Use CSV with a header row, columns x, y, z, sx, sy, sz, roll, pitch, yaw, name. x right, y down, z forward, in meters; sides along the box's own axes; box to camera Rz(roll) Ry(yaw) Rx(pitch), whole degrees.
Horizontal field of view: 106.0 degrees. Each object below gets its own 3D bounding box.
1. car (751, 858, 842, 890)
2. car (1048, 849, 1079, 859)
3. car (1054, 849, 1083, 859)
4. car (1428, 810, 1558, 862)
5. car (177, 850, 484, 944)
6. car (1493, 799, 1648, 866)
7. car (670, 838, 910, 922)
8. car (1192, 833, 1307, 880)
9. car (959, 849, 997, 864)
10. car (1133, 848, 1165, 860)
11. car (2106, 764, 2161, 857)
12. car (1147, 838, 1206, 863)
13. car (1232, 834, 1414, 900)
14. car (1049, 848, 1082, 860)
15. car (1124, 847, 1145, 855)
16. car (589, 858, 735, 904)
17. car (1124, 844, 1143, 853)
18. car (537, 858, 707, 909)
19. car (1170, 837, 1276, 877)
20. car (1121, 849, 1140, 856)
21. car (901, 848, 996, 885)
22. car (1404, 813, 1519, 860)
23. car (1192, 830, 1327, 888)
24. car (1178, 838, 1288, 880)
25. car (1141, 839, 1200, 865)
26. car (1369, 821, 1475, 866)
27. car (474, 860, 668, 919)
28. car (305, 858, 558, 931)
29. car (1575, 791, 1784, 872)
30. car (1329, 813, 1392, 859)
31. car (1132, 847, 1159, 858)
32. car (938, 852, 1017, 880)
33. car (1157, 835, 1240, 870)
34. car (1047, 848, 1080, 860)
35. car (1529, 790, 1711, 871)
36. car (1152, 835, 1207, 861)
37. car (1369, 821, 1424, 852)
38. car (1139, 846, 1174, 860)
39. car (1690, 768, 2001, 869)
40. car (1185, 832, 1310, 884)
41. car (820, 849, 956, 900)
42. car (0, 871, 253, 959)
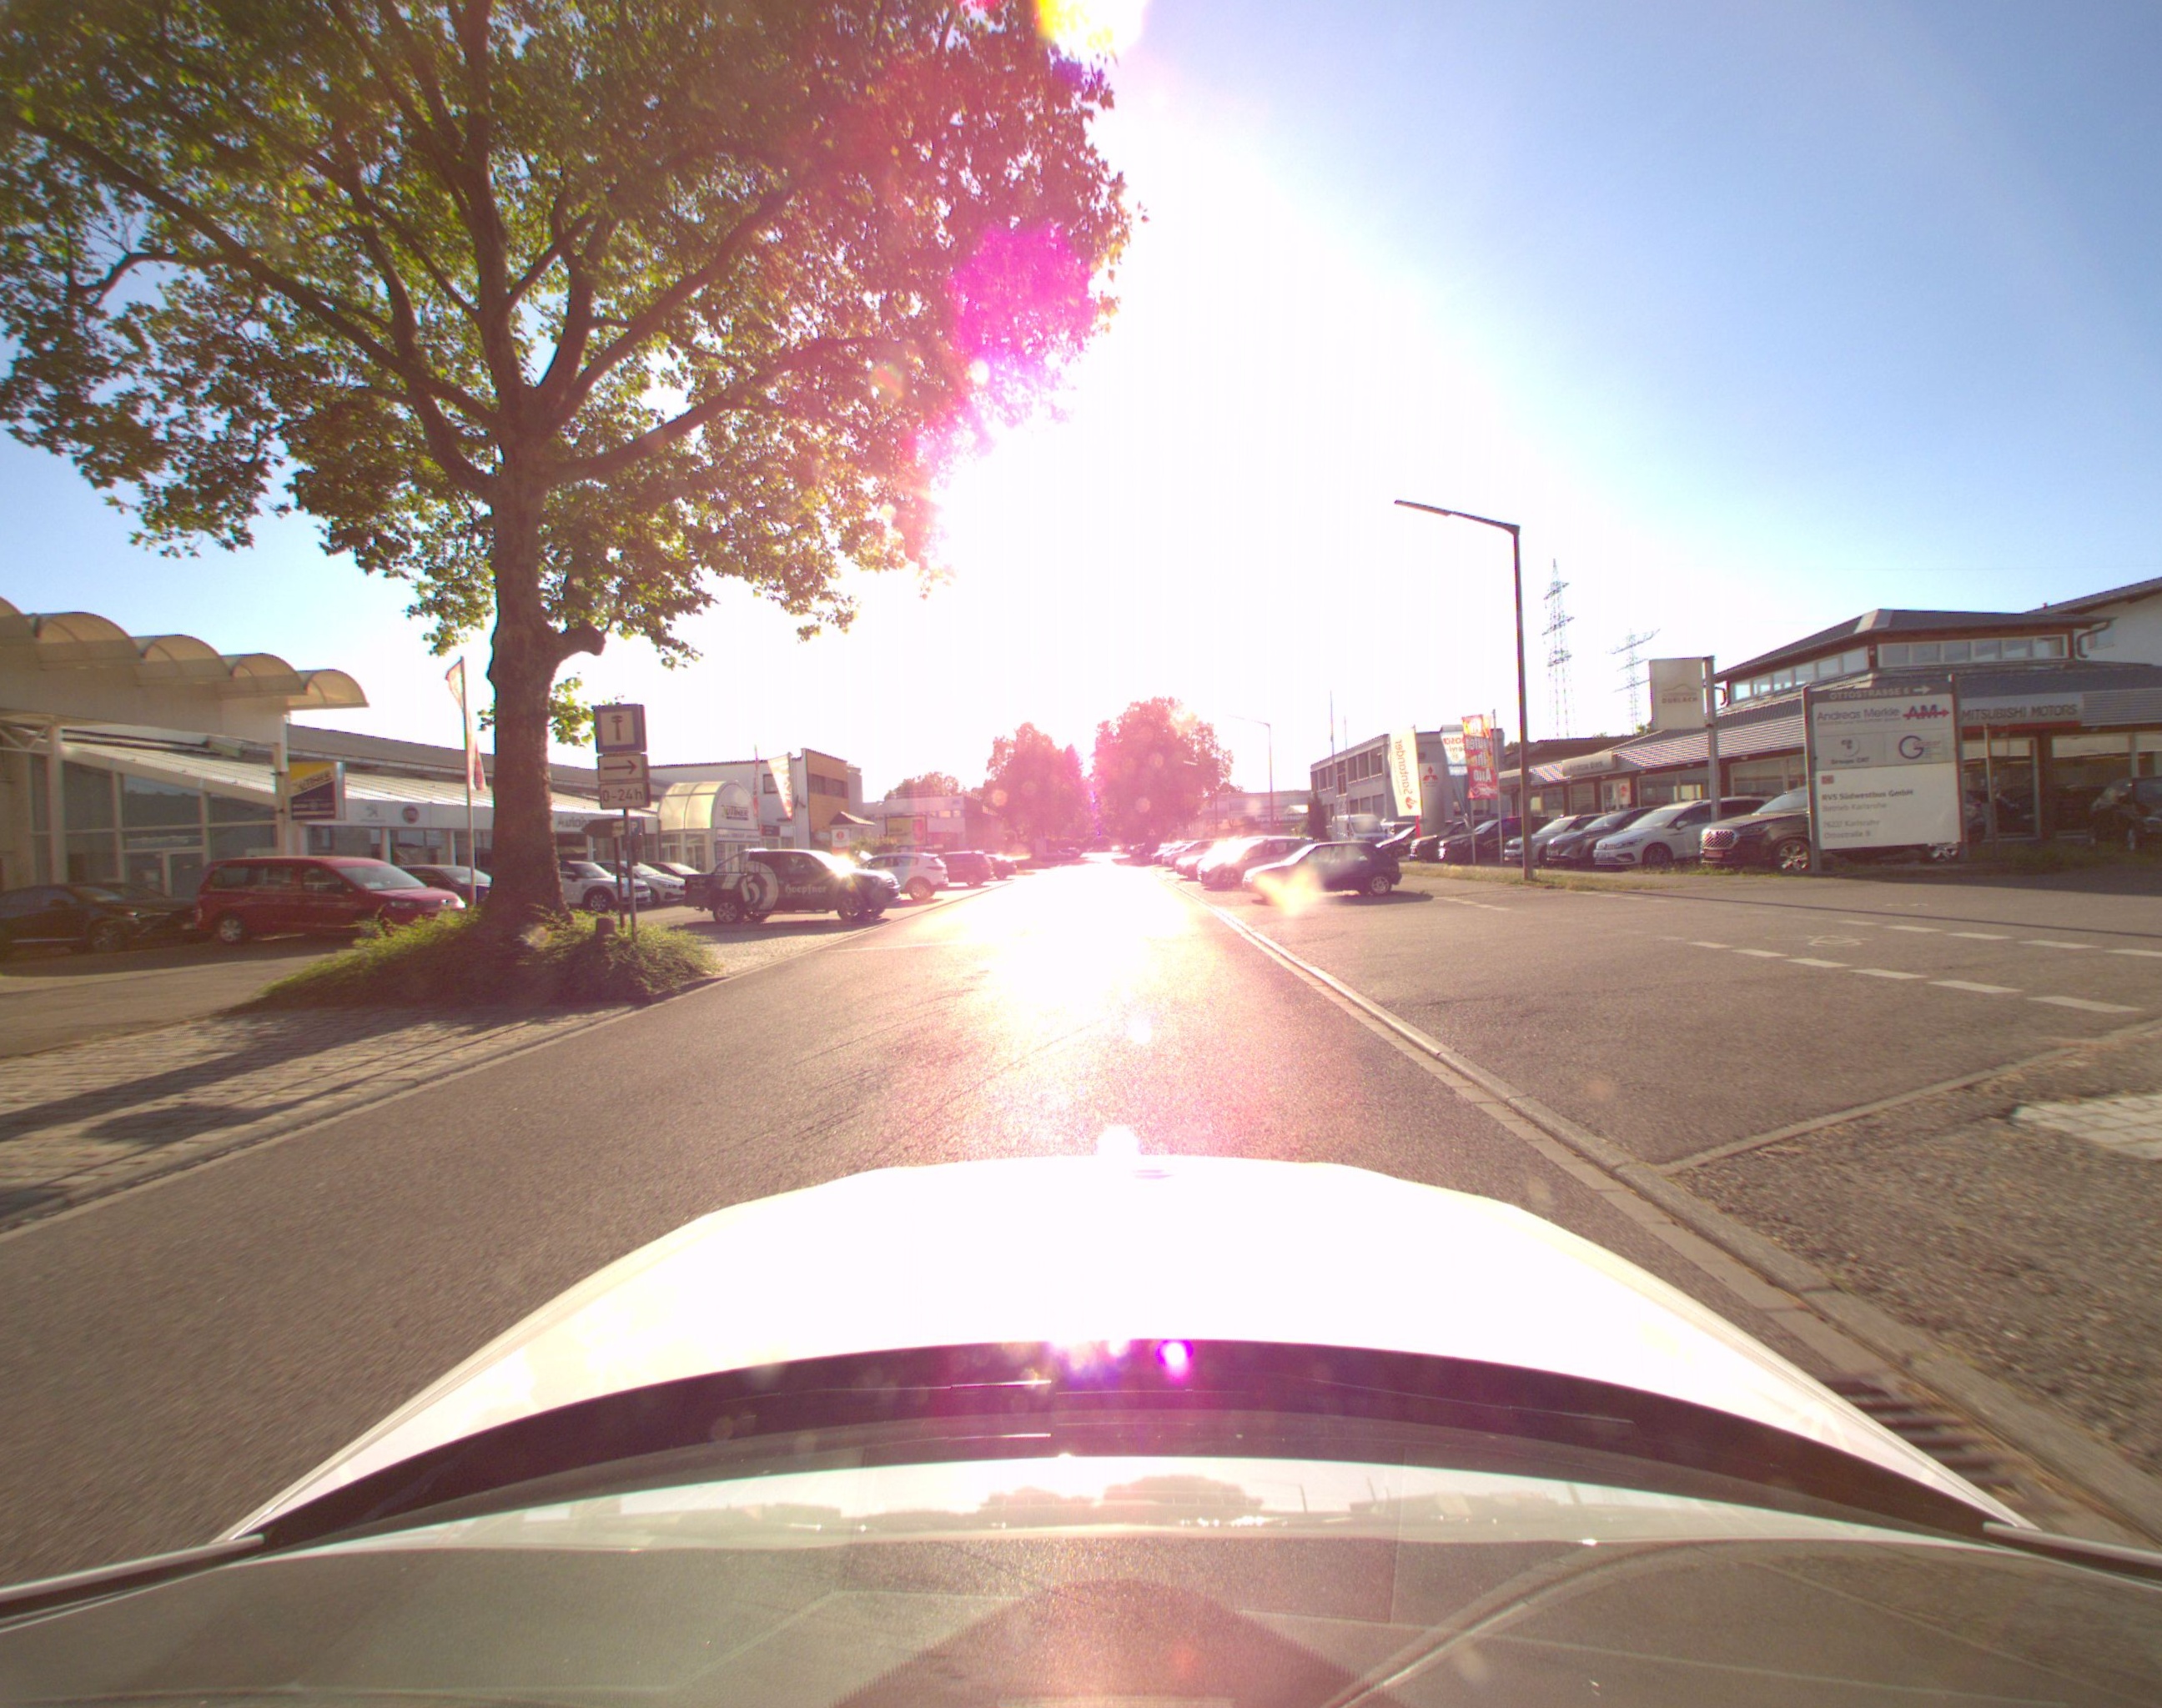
x,y,z,sx,sy,sz,roll,pitch,yaw,name
-14.787,1.019,42.433,3.971,1.555,2.001,-1,0,2,car
-2.650,0.011,122.329,4.396,1.517,2.002,-1,0,3,car
-2.021,0.045,132.775,4.396,1.517,2.002,-1,0,3,car
15.993,-0.672,31.777,3.971,1.697,2.001,-4,-1,2,car
-16.022,0.877,17.585,4.730,1.819,2.000,-1,0,0,car
15.867,-0.668,26.546,3.887,1.899,1.787,-2,-2,1,car
-7.236,0.634,20.685,5.240,1.898,2.203,-1,-1,1,car
6.584,0.098,32.157,4.098,1.740,1.882,-1,0,-2,car
-13.052,0.348,103.214,4.635,1.741,1.991,-1,0,-14,car
8.691,0.016,104.175,3.972,1.415,1.828,-3,0,2,car
22.048,-0.851,16.221,4.020,1.738,1.977,-1,0,-39,car
7.788,-0.273,66.847,4.511,1.672,1.752,-5,0,-2,car
5.856,0.312,20.081,3.968,1.296,1.786,-4,0,4,car
-2.093,0.033,112.041,4.400,1.517,2.000,-1,0,0,car
10.550,-0.575,159.657,3.972,1.415,1.828,-3,0,2,car
-15.498,0.988,30.286,4.449,1.553,1.836,-1,0,0,car
11.229,-1.195,175.766,3.972,1.777,1.828,-3,0,2,car
-15.573,0.978,27.810,4.645,1.592,1.928,-1,0,0,car
6.413,0.141,37.150,4.421,1.436,2.136,-4,0,1,car
10.433,-0.330,172.477,3.972,1.415,1.828,-3,0,2,car
-6.395,0.613,39.581,4.218,1.655,2.201,-1,-1,-1,car
16.348,-0.730,35.150,3.971,1.659,2.001,-4,-1,2,car
5.880,0.169,27.179,3.976,1.588,1.866,-4,0,-2,car
6.378,0.207,34.438,4.234,1.605,1.743,-1,0,-5,car
6.473,-0.127,58.646,3.963,1.613,2.005,-4,-1,9,car
16.047,-0.500,38.502,4.128,1.771,2.001,-4,-1,2,car
-15.682,1.052,25.223,4.702,1.643,2.000,-1,0,0,car
-16.129,0.976,20.428,4.697,1.634,2.000,-1,0,0,car
15.701,-0.613,21.552,3.919,1.898,2.203,-2,3,1,car
17.173,-1.038,50.404,1.986,2.625,6.140,-1,0,2,car
9.853,-0.243,125.044,3.972,1.415,1.828,-3,0,2,car
-5.996,0.700,47.561,4.300,1.460,2.201,-1,-1,-1,car
6.964,-0.093,48.688,4.541,1.597,2.201,-5,-1,-1,car
-2.363,0.008,109.590,4.405,1.403,1.998,-1,0,-3,car
15.758,-0.673,24.013,3.785,1.898,2.203,-6,0,2,car
7.715,-0.450,64.029,3.975,1.652,1.742,-5,0,-1,car
19.659,-1.047,50.937,1.986,1.799,4.002,-1,0,2,car
8.994,-0.097,96.817,3.972,1.415,2.001,-3,0,2,car
16.045,-0.694,17.321,4.478,1.898,2.203,-1,-1,1,car
6.037,0.152,29.892,4.098,1.618,2.058,-3,0,-2,car
-6.754,0.712,28.894,4.290,1.656,2.201,-1,-1,-1,car
-21.422,1.332,17.676,4.730,1.515,2.000,-5,0,0,car
